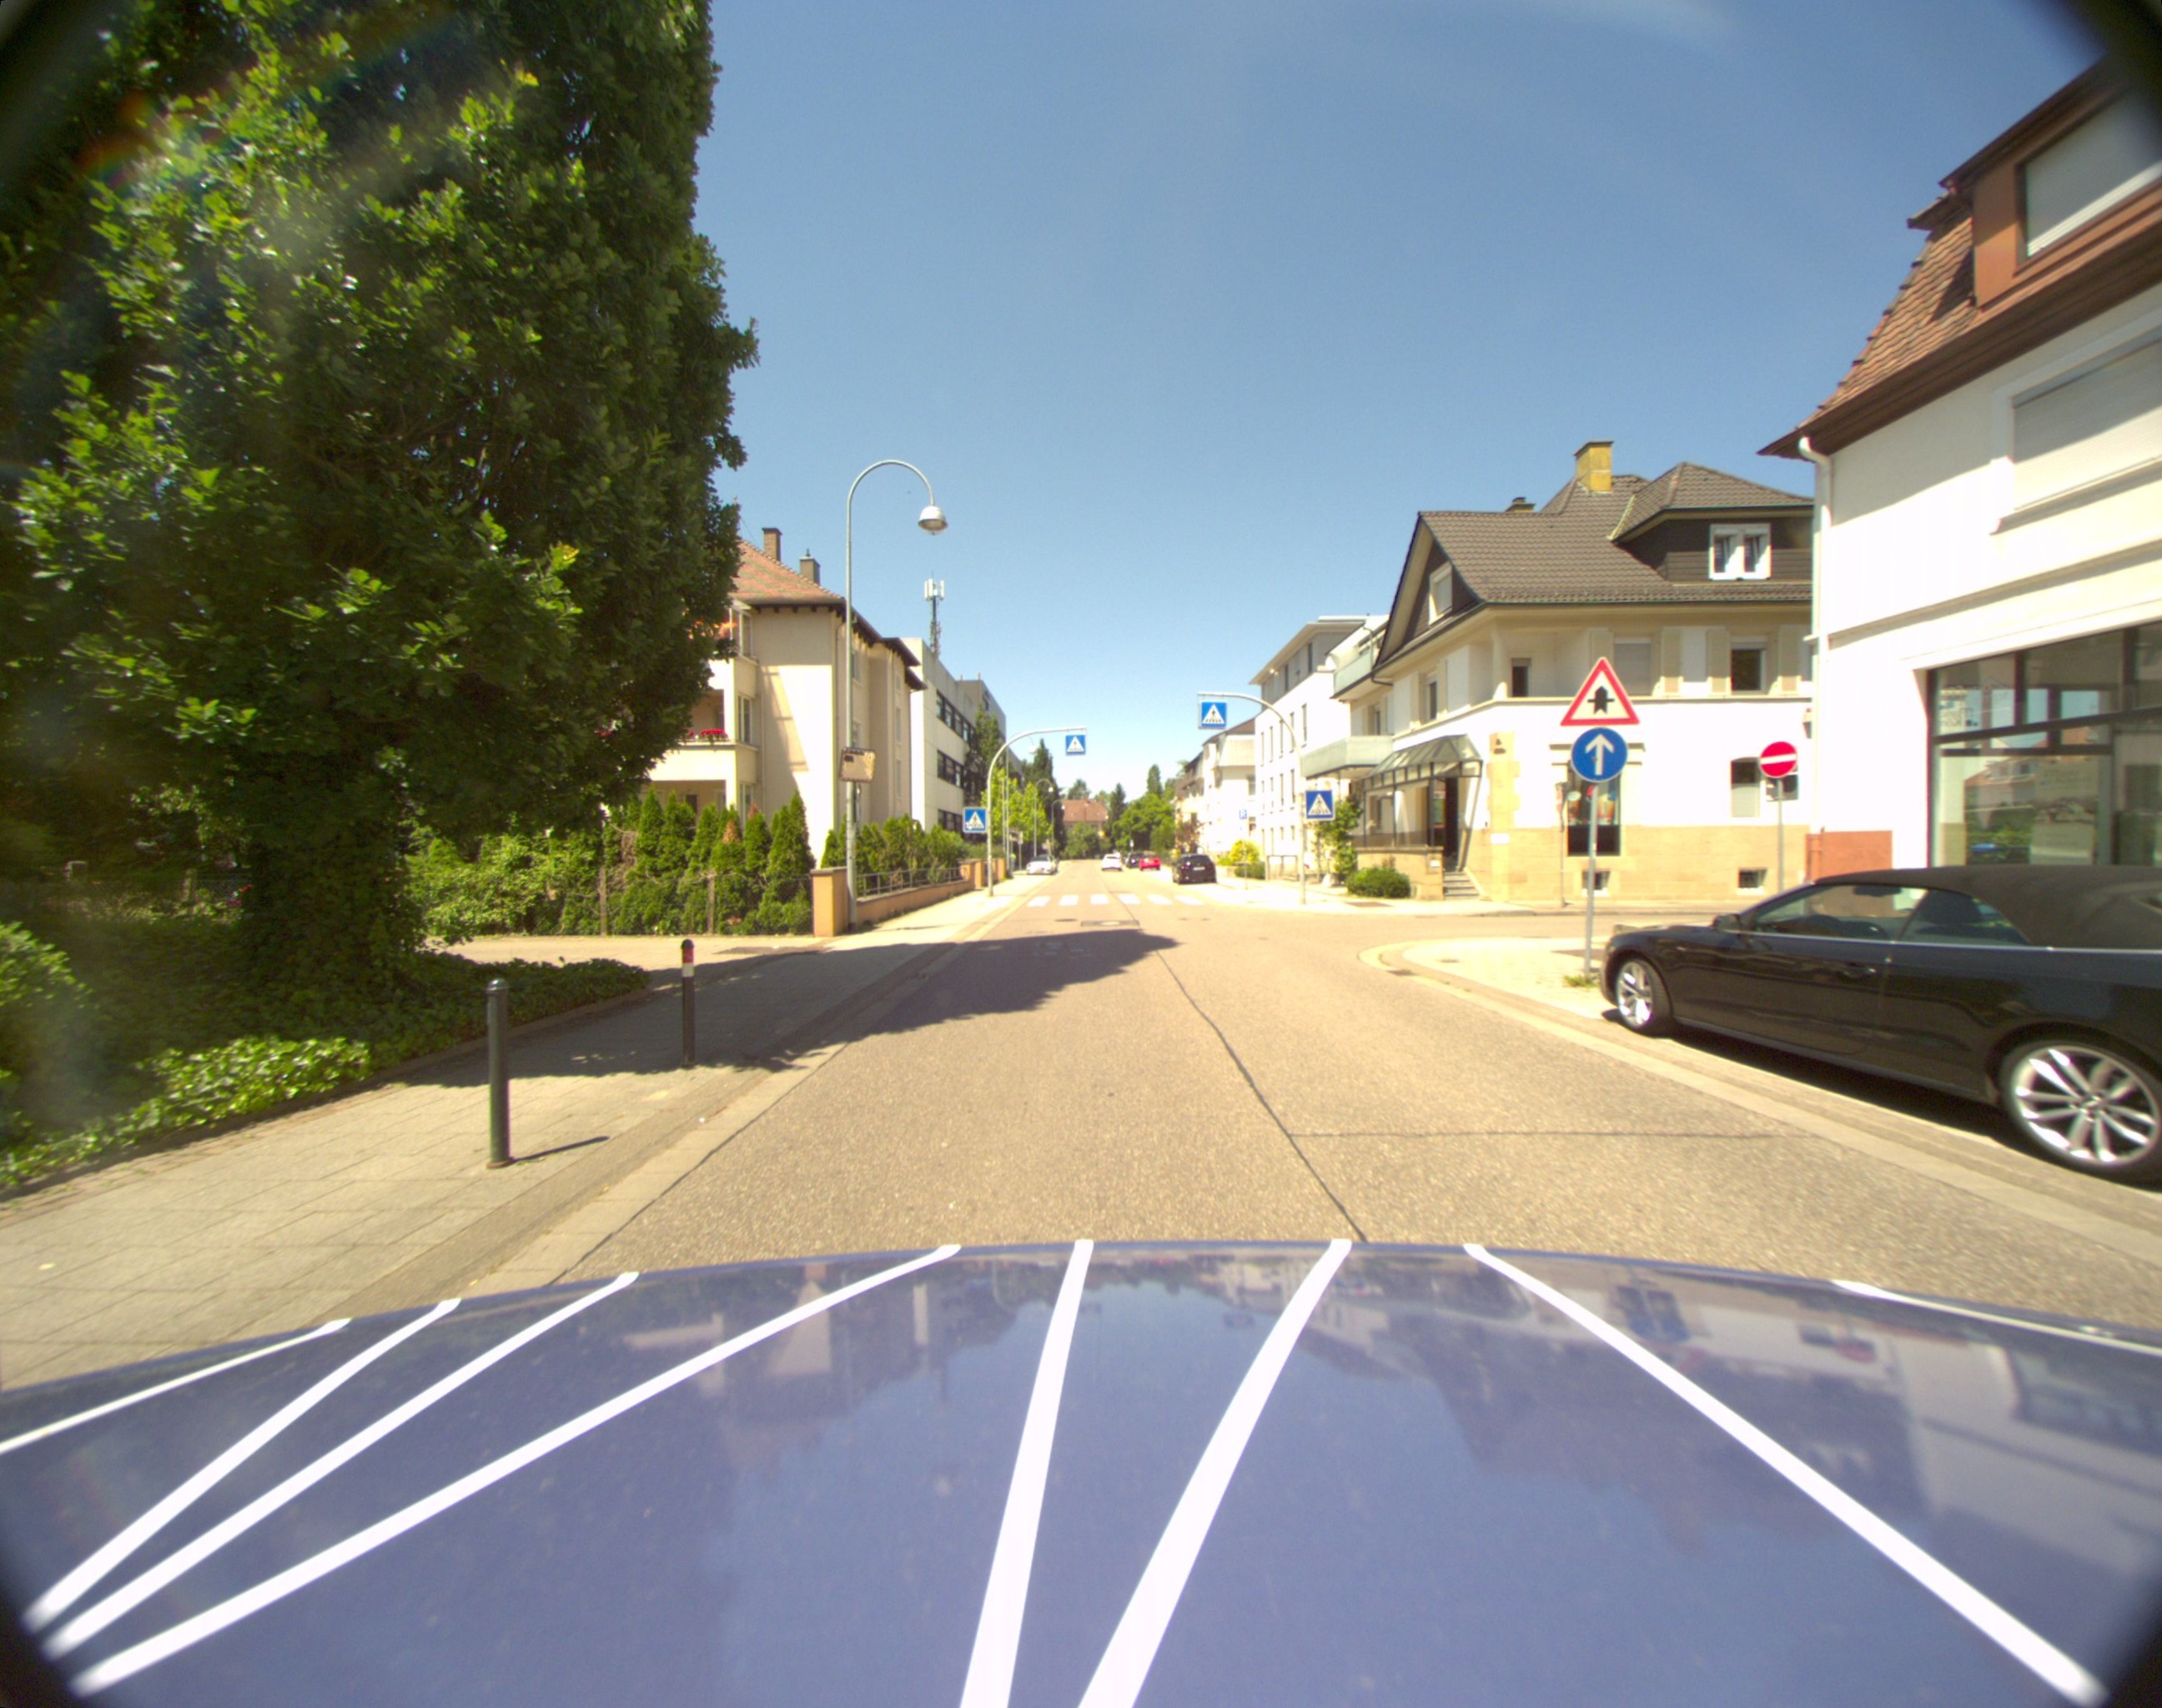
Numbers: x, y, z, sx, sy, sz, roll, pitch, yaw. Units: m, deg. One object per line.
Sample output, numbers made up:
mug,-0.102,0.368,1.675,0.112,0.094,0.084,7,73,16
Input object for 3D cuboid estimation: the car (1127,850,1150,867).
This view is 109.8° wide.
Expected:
car,5.823,0.473,77.282,1.925,1.577,4.435,-3,0,1

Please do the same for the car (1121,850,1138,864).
car,6.194,0.344,97.186,1.925,1.681,4.287,-3,0,2

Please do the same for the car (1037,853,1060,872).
car,-2.695,0.712,63.784,1.714,1.489,3.877,0,0,1

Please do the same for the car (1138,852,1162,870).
car,5.974,0.592,65.986,1.737,1.444,4.260,-3,0,1

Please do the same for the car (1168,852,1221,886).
car,5.661,0.697,38.459,1.921,1.444,5.149,-3,0,1

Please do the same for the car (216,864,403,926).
car,-20.497,1.024,20.408,1.612,1.450,3.501,0,0,-5

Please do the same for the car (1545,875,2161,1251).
car,5.387,0.907,4.727,1.947,1.365,5.098,-1,0,1

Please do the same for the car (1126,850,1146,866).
car,5.950,0.422,82.797,1.925,1.577,4.287,-3,0,1

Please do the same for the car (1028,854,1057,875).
car,-2.922,0.772,58.578,1.920,1.460,4.880,0,0,0

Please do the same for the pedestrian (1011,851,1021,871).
pedestrian,-5.572,0.614,65.310,0.680,1.690,1.050,1,1,1

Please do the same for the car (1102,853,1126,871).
car,2.918,0.686,67.877,1.812,1.473,3.868,1,0,-1
